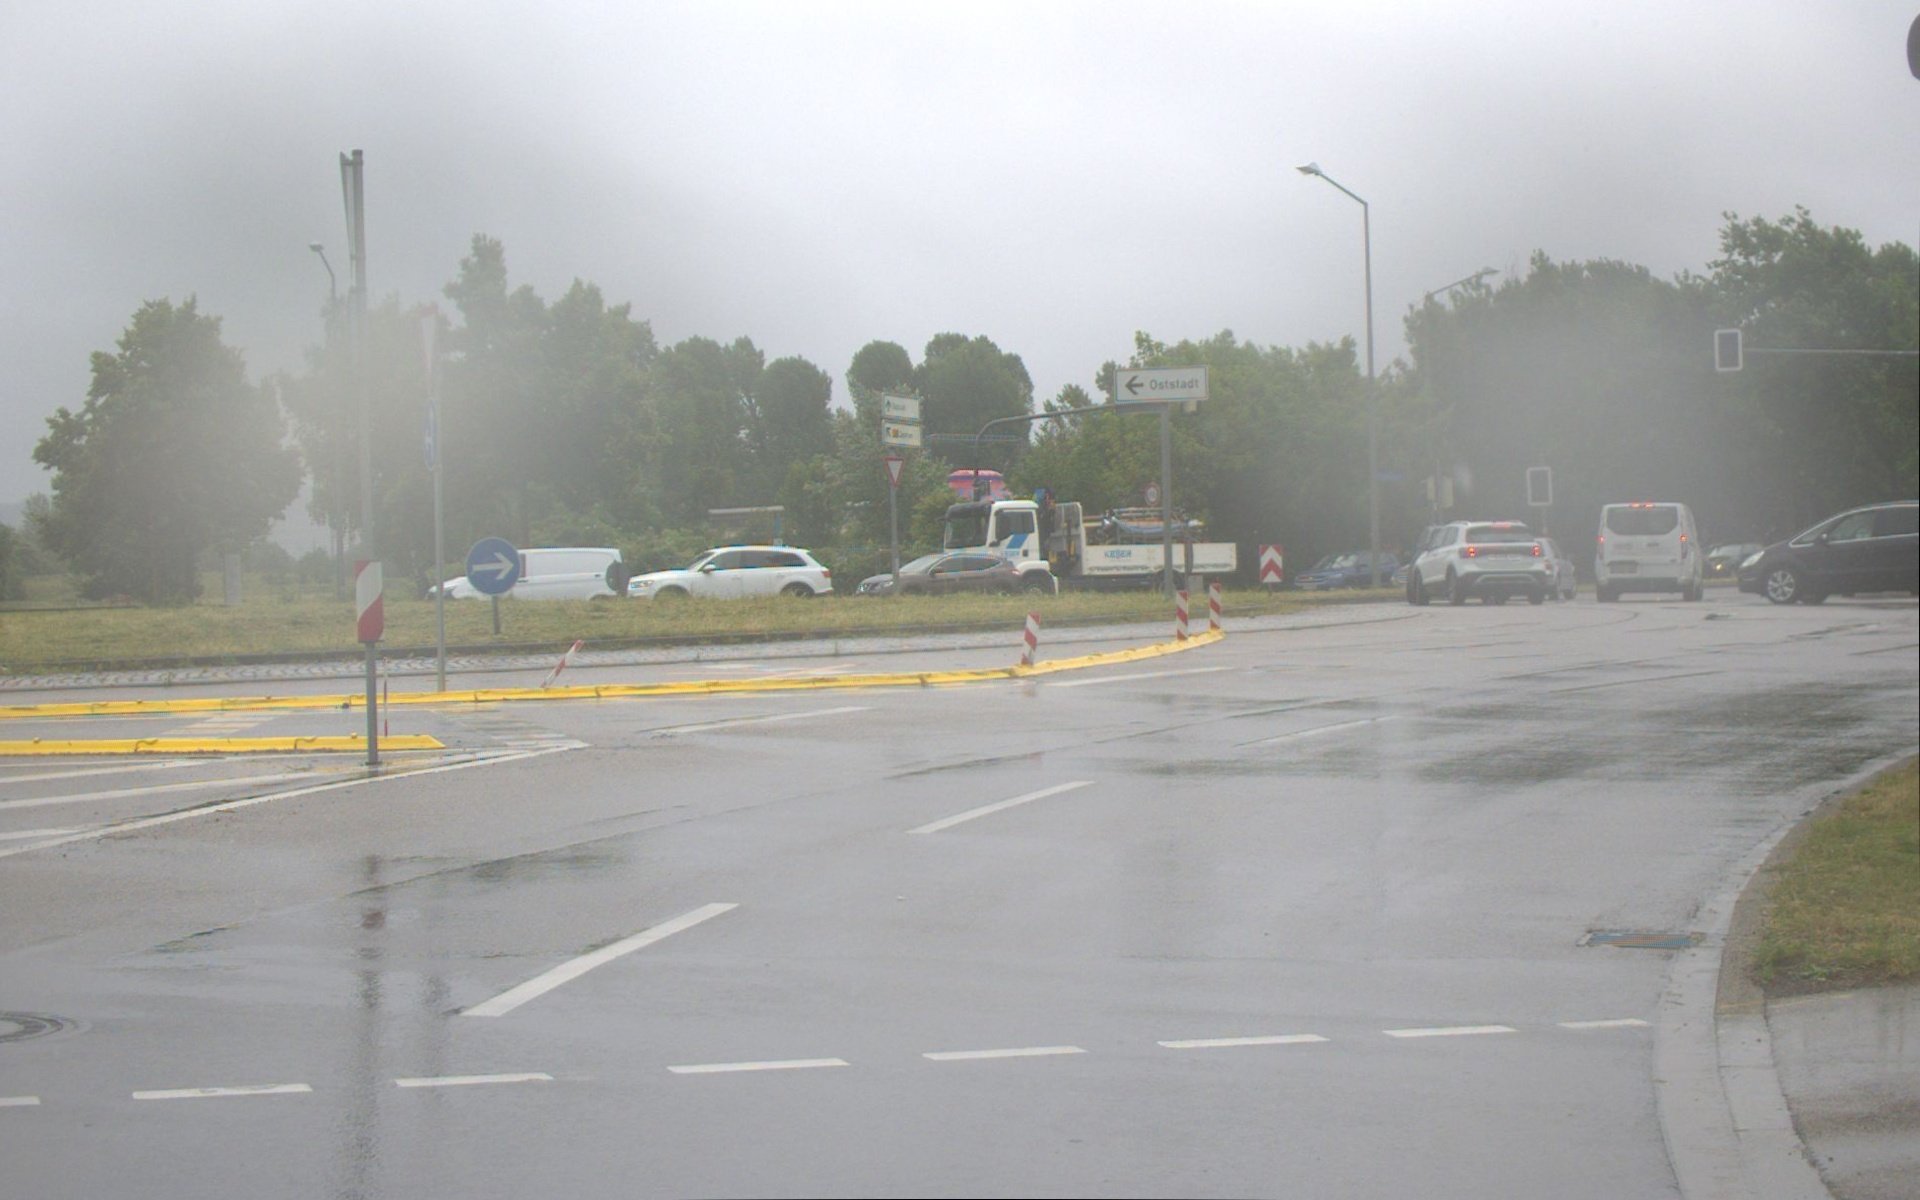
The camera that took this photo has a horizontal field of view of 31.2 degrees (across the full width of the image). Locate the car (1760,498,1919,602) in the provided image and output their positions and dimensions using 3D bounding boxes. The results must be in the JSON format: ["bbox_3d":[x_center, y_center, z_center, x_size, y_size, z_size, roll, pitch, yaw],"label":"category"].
[{"bbox_3d":[15.229,-0.808,55.798,3.994,1.642,1.786,1,1,33],"label":"car"}]

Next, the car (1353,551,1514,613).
[{"bbox_3d":[13.685,-0.516,99.243,4.852,1.738,1.777,0,1,-40],"label":"car"}]

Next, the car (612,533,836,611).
[{"bbox_3d":[-5.482,-0.639,79.773,4.849,1.738,1.778,1,1,-20],"label":"car"}]

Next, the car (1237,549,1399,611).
[{"bbox_3d":[10.409,-0.567,99.826,4.852,1.738,1.777,0,1,-40],"label":"car"}]

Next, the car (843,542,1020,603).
[{"bbox_3d":[-0.707,-0.690,86.384,4.138,1.487,1.612,1,1,-26],"label":"car"}]

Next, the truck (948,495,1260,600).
[{"bbox_3d":[3.980,-1.401,93.539,8.768,2.702,2.000,0,1,-30],"label":"truck"}]

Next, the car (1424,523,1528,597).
[{"bbox_3d":[10.871,-0.833,72.311,1.690,1.487,3.248,1,1,17],"label":"car"}]

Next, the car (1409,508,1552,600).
[{"bbox_3d":[9.770,-0.861,64.805,1.680,1.642,3.948,1,1,-6],"label":"car"}]

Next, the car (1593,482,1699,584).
[{"bbox_3d":[14.177,-1.351,70.902,1.785,2.029,3.997,1,1,16],"label":"car"}]

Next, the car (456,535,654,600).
[{"bbox_3d":[-9.748,-0.770,82.699,4.533,1.487,1.612,1,0,-16],"label":"car"}]

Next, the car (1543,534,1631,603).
[{"bbox_3d":[14.071,-0.709,77.079,1.690,1.487,3.249,1,1,15],"label":"car"}]
